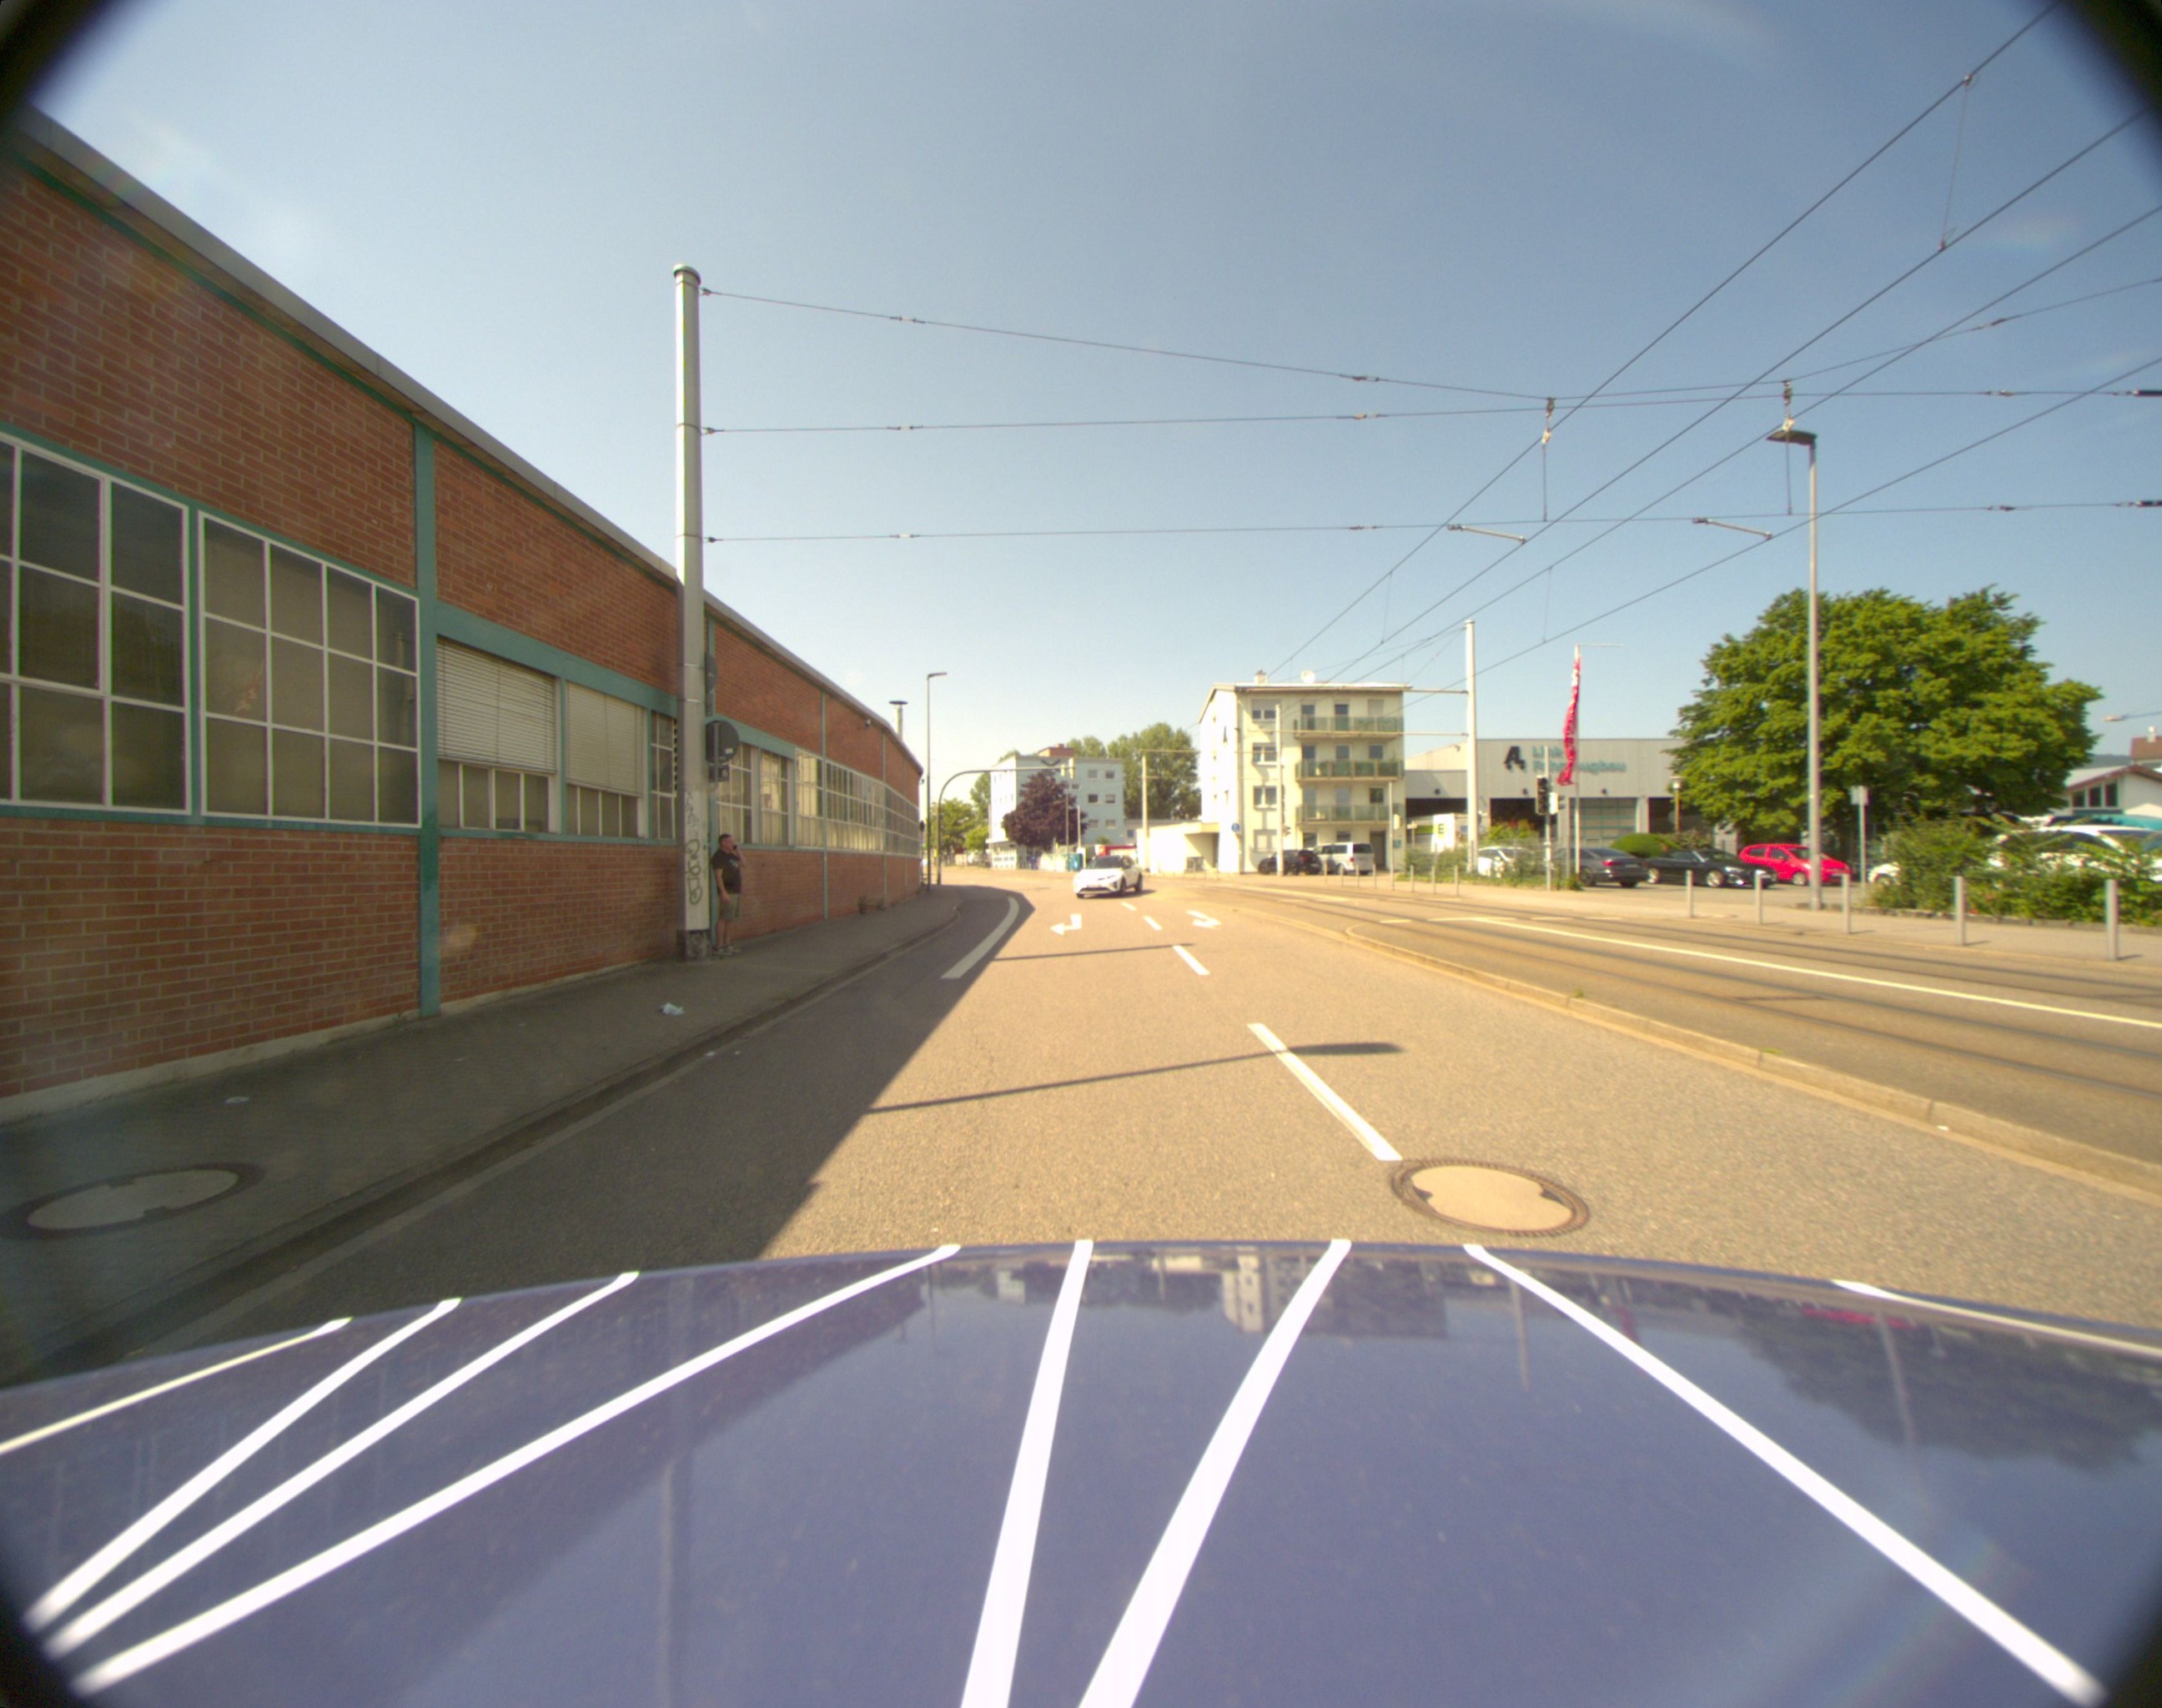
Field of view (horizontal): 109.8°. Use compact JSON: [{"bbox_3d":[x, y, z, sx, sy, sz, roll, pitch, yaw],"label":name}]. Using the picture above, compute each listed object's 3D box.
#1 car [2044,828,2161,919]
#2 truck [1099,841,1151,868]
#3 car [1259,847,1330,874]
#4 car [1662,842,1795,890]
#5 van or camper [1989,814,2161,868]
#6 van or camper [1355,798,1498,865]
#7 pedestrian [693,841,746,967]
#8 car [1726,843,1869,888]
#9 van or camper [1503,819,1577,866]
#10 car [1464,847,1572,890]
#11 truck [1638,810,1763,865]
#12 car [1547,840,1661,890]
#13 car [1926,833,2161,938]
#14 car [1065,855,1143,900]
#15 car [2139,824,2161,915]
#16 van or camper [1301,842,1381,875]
[{"bbox_3d":[19.308,0.325,12.653,1.854,1.559,3.937,-1,0,8],"label":"car"},{"bbox_3d":[4.537,0.032,78.149,4.836,2.611,2.186,-1,0,-15],"label":"truck"},{"bbox_3d":[12.746,0.403,45.584,1.883,1.512,3.965,-1,0,-27],"label":"car"},{"bbox_3d":[23.184,0.394,27.409,1.854,1.612,3.838,0,0,7],"label":"car"},{"bbox_3d":[39.738,-0.483,30.225,1.997,1.996,4.645,-1,0,6],"label":"van or camper"},{"bbox_3d":[23.186,-1.304,52.100,2.781,3.669,11.632,-1,-2,-10],"label":"van or camper"},{"bbox_3d":[-5.203,0.706,10.964,0.449,1.754,0.686,-1,-2,-3],"label":"pedestrian"},{"bbox_3d":[27.529,0.420,29.390,1.856,1.583,3.835,-1,0,-2],"label":"car"},{"bbox_3d":[33.114,-0.781,55.051,1.999,3.186,5.057,-1,0,-4],"label":"van or camper"},{"bbox_3d":[16.173,0.497,28.365,1.712,1.425,3.954,-2,1,0],"label":"car"},{"bbox_3d":[45.199,-1.155,55.807,2.623,3.760,7.859,-1,0,-1],"label":"truck"},{"bbox_3d":[18.747,0.446,27.440,1.767,1.611,3.840,-2,-2,7],"label":"car"},{"bbox_3d":[16.807,0.447,12.538,1.739,1.532,3.838,-1,0,7],"label":"car"},{"bbox_3d":[0.941,0.811,27.995,1.734,1.521,4.115,-1,0,19],"label":"car"},{"bbox_3d":[21.873,0.284,13.086,1.997,1.774,4.002,-1,0,8],"label":"car"},{"bbox_3d":[15.520,0.232,45.623,2.002,1.897,4.547,0,1,-22],"label":"van or camper"}]
